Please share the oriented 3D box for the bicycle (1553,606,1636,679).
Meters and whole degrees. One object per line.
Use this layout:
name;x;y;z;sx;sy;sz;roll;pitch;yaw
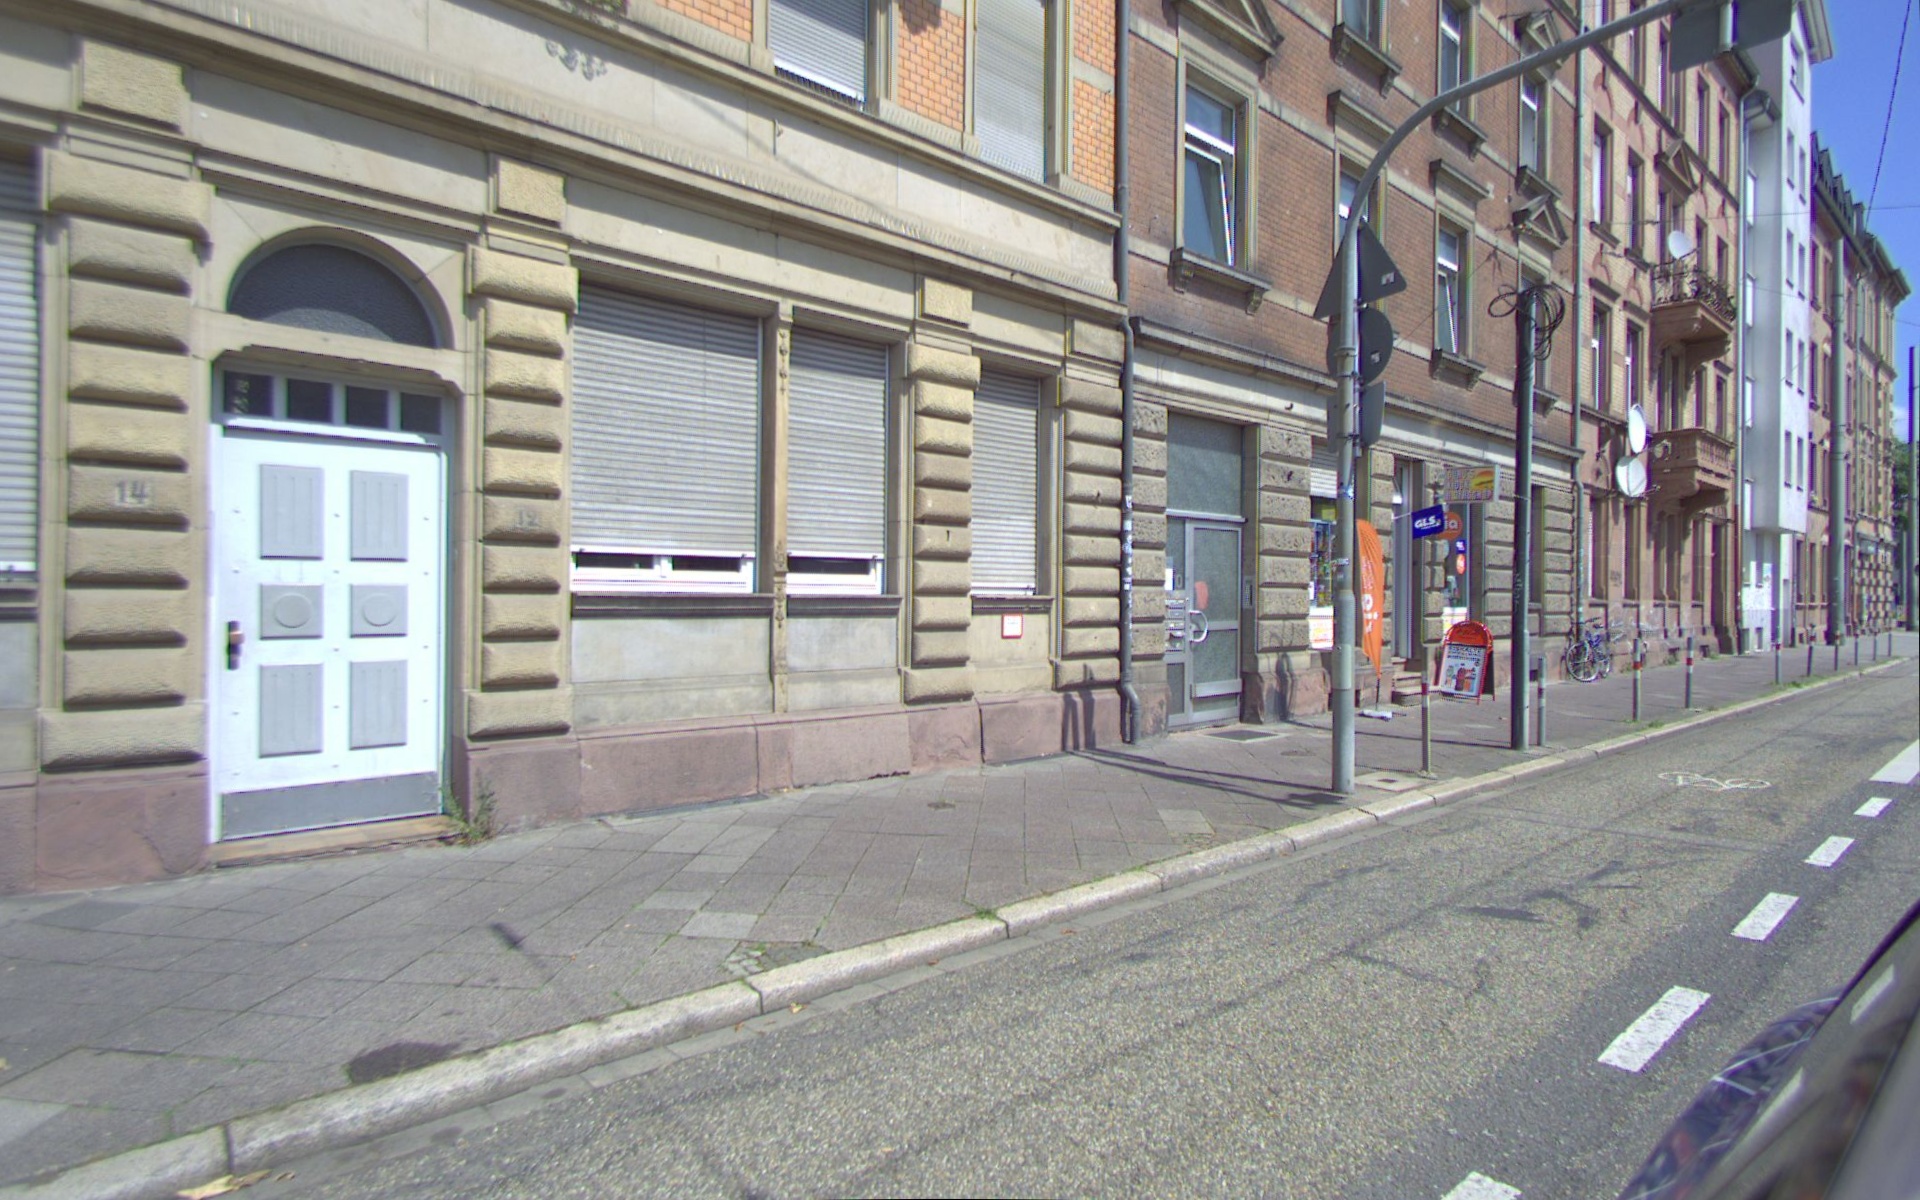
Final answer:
bicycle;11.134;0.718;17.725;2.166;1.193;0.587;0;1;-40
